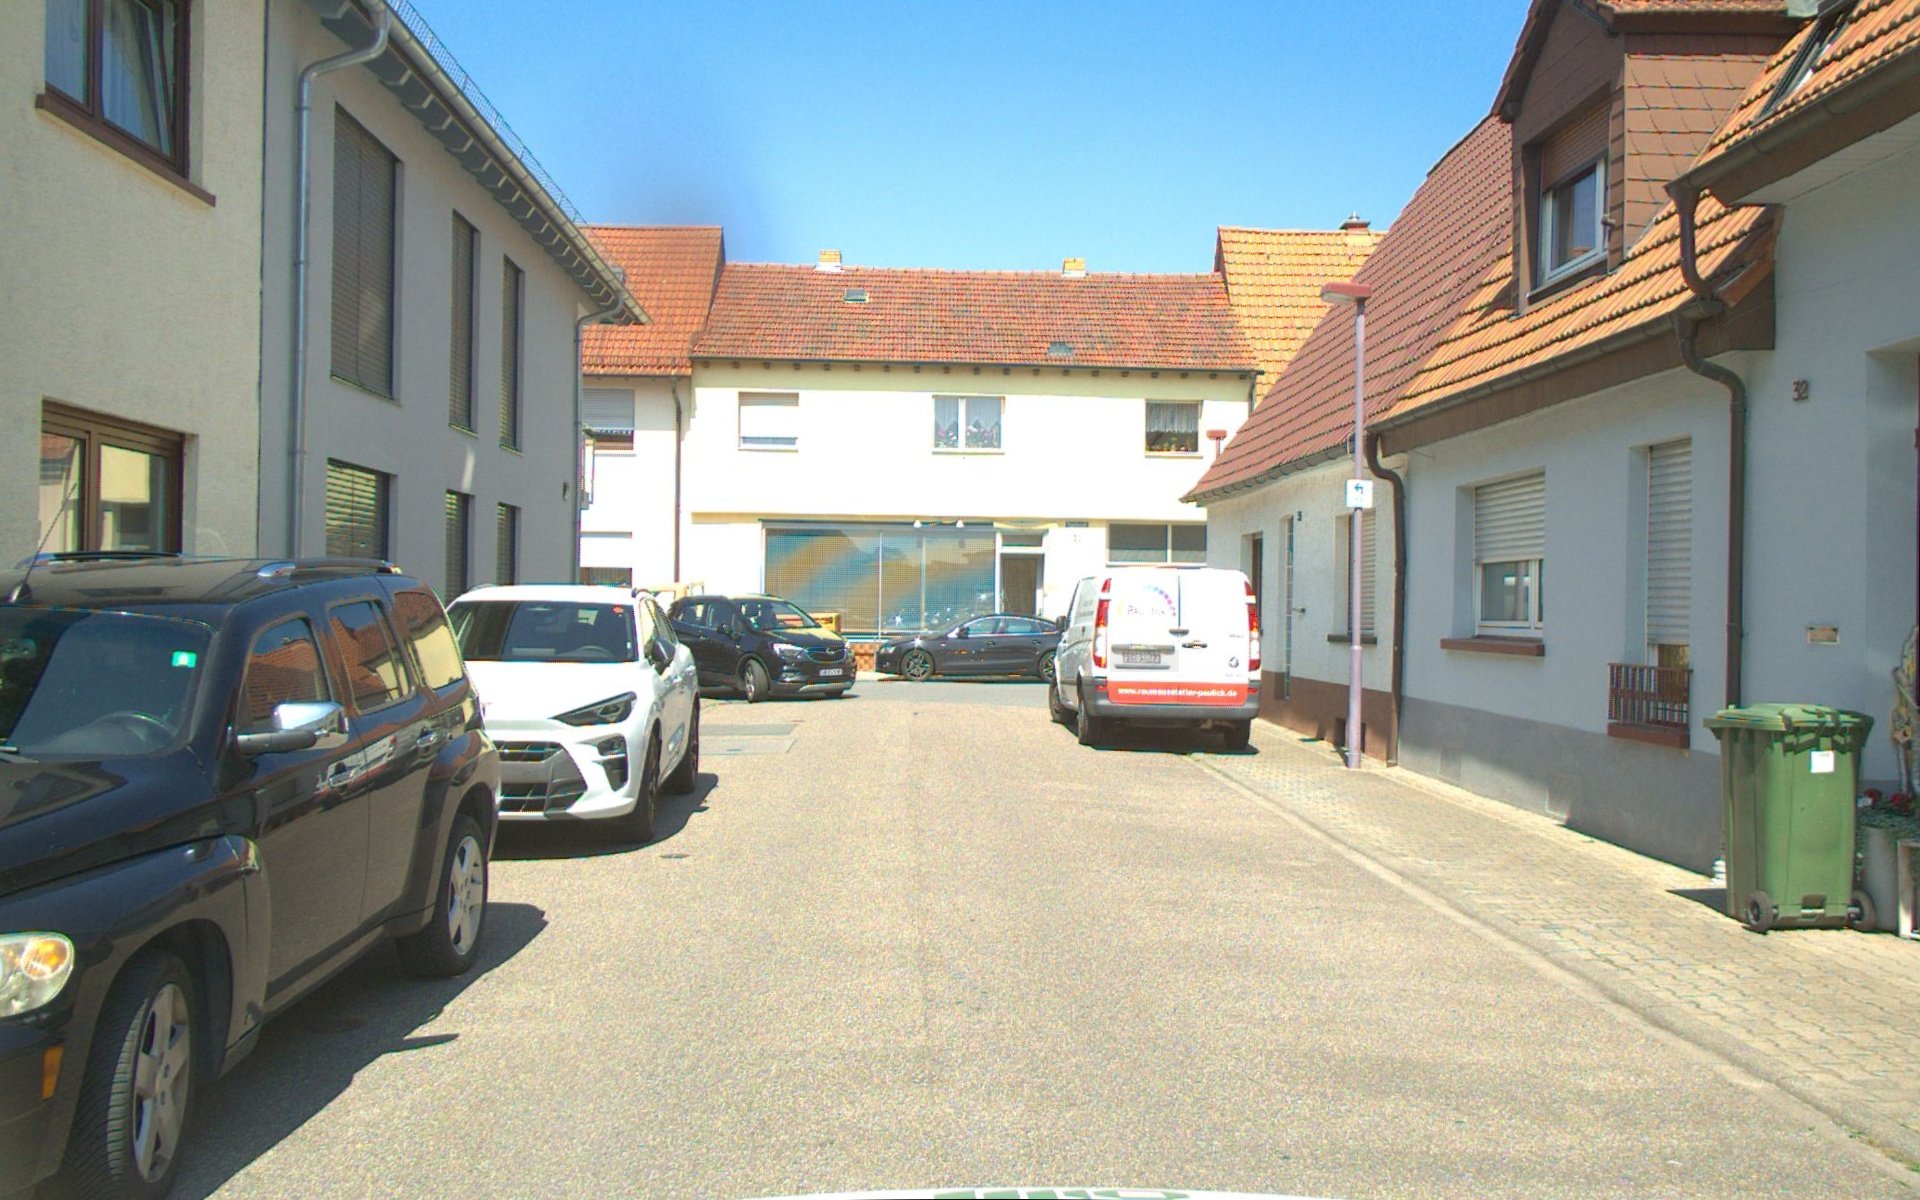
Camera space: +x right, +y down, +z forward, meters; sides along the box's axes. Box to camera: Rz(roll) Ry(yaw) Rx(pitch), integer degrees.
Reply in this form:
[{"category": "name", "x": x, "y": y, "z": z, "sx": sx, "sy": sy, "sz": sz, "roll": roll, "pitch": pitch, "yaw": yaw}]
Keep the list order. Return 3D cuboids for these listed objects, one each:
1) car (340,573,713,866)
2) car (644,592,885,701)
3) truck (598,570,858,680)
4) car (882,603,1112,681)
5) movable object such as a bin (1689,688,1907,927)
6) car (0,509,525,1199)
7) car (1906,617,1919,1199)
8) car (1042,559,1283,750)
[{"category": "car", "x": -2.766, "y": 0.680, "z": 11.526, "sx": 1.739, "sy": 1.643, "sz": 4.345, "roll": 0, "pitch": 0, "yaw": -4}, {"category": "car", "x": -3.235, "y": 0.690, "z": 26.797, "sx": 1.748, "sy": 1.610, "sz": 4.213, "roll": 0, "pitch": 0, "yaw": -43}, {"category": "truck", "x": -4.603, "y": 0.506, "z": 33.500, "sx": 4.961, "sy": 2.049, "sz": 2.188, "roll": 1, "pitch": -1, "yaw": -2}, {"category": "car", "x": 0.697, "y": 0.885, "z": 33.709, "sx": 4.525, "sy": 1.419, "sz": 1.926, "roll": 1, "pitch": -3, "yaw": -4}, {"category": "movable object such as a bin", "x": 4.166, "y": 1.011, "z": 8.268, "sx": 0.645, "sy": 1.090, "sz": 0.812, "roll": 1, "pitch": 0, "yaw": -4}, {"category": "car", "x": -2.710, "y": 0.656, "z": 5.138, "sx": 1.687, "sy": 1.643, "sz": 3.988, "roll": 0, "pitch": 0, "yaw": 0}, {"category": "car", "x": 2.836, "y": 0.764, "z": 0.827, "sx": 1.802, "sy": 1.473, "sz": 4.773, "roll": 2, "pitch": 0, "yaw": -3}, {"category": "car", "x": 2.197, "y": 0.566, "z": 19.444, "sx": 1.972, "sy": 1.871, "sz": 5.263, "roll": 2, "pitch": 0, "yaw": -2}]
